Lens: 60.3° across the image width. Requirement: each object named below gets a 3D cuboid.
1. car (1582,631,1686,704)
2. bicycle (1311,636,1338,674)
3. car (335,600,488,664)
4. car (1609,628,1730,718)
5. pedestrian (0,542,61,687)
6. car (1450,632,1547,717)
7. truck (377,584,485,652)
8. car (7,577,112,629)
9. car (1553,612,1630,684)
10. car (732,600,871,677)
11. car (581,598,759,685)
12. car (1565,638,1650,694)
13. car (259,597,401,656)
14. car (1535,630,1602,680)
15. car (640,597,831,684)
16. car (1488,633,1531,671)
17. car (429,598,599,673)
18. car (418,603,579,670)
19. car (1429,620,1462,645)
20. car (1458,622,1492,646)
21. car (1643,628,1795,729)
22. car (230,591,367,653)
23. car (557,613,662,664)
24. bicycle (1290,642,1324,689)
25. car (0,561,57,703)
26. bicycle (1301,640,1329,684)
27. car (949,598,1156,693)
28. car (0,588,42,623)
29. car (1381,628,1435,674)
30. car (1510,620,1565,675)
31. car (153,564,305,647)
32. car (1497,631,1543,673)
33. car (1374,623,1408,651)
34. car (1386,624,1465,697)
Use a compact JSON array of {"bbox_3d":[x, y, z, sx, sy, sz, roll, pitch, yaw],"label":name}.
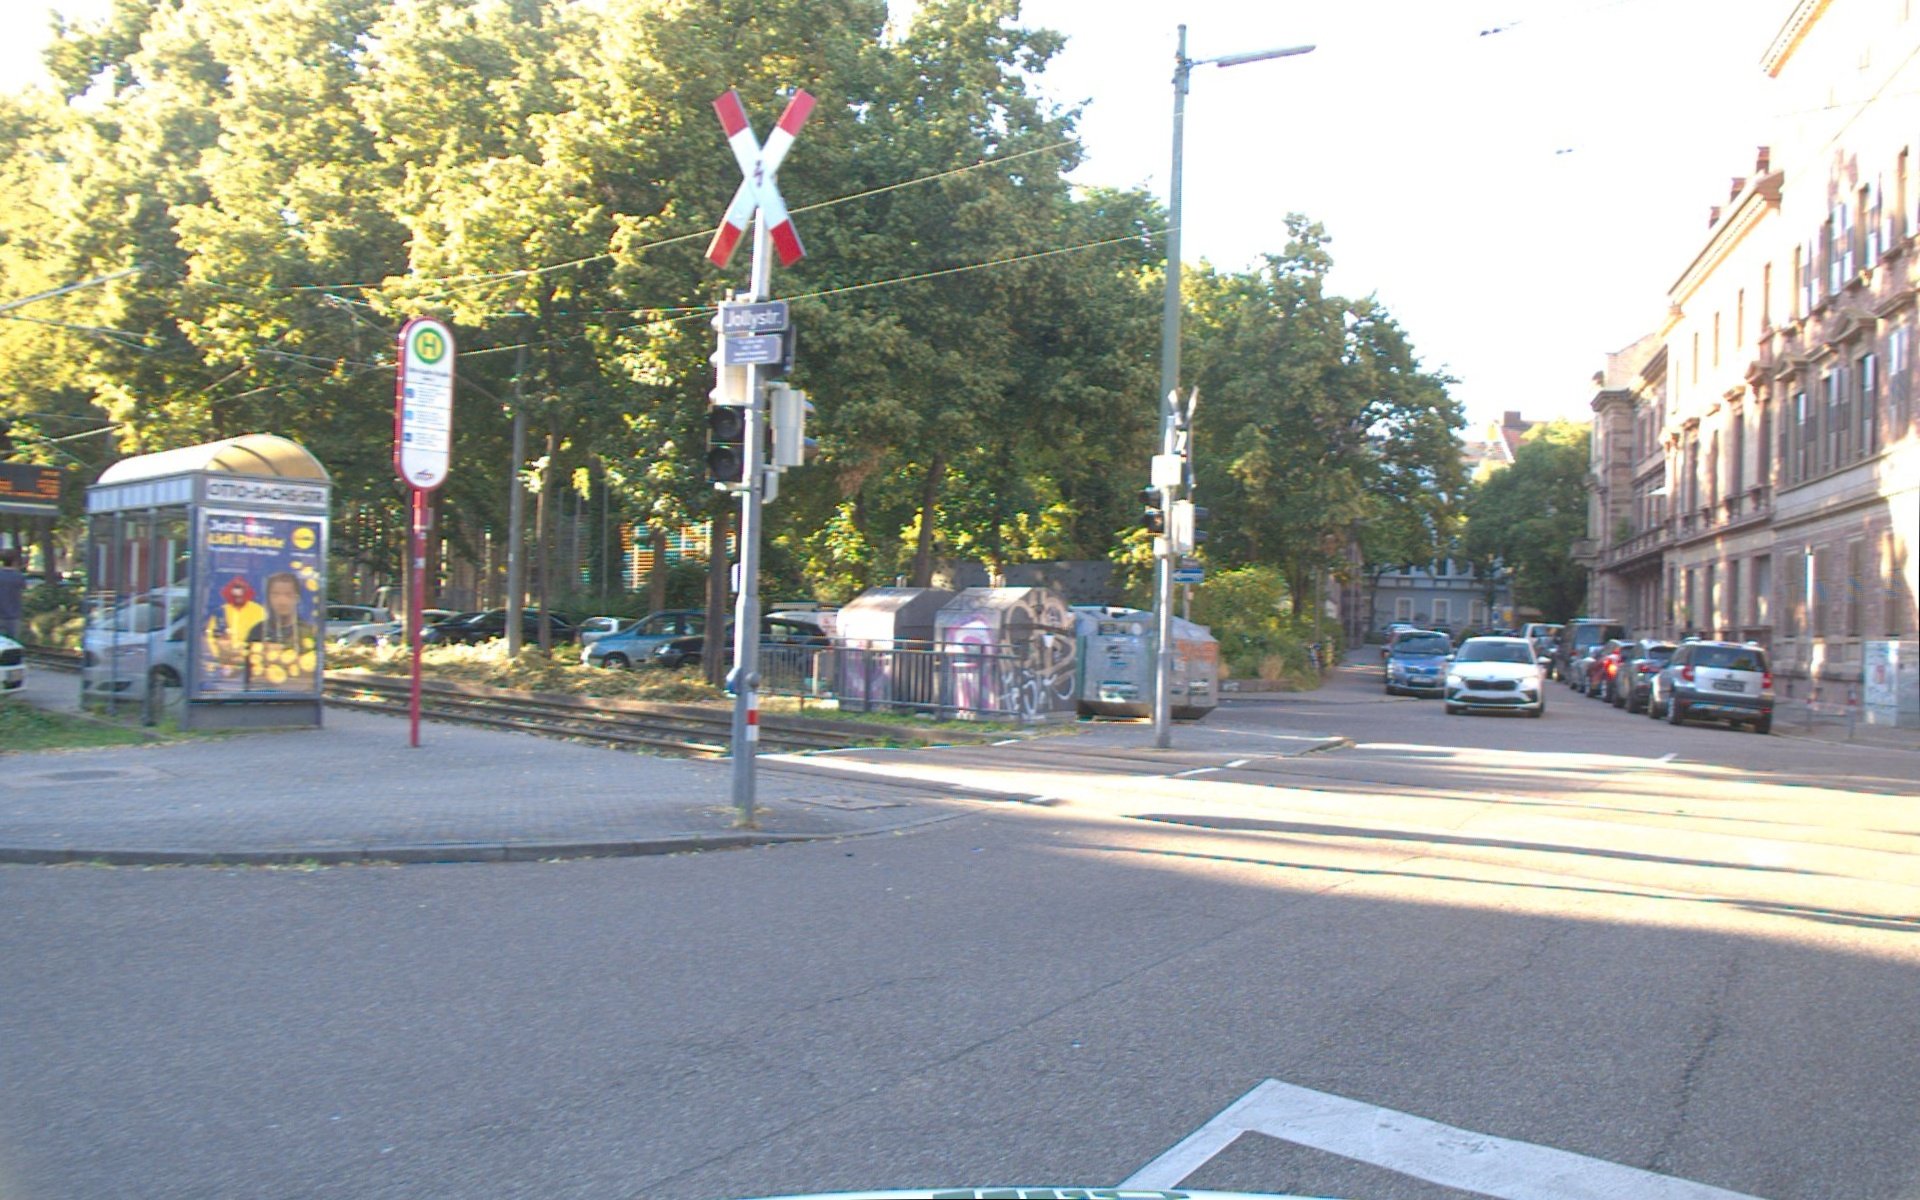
[{"bbox_3d":[17.250,1.678,42.493,1.760,1.642,3.958,4,0,13],"label":"car"},{"bbox_3d":[11.255,1.687,51.038,0.584,1.121,2.628,1,-1,16],"label":"bicycle"},{"bbox_3d":[-14.769,0.882,44.517,3.763,1.416,1.726,5,-4,-22],"label":"car"},{"bbox_3d":[15.966,1.593,37.417,1.788,1.753,4.546,5,0,15],"label":"car"},{"bbox_3d":[-12.880,0.203,22.683,0.837,1.944,0.831,2,-1,-24],"label":"pedestrian"},{"bbox_3d":[10.500,1.383,32.147,1.667,1.482,4.063,1,-1,19],"label":"car"},{"bbox_3d":[-19.789,0.652,61.759,2.352,2.393,4.319,2,-1,-40],"label":"truck"},{"bbox_3d":[-44.426,0.164,81.656,4.005,2.249,1.814,4,-3,-10],"label":"car"},{"bbox_3d":[20.243,1.519,53.143,1.760,2.108,3.957,4,0,15],"label":"car"},{"bbox_3d":[-4.291,1.020,44.444,3.835,1.937,1.566,1,-1,44],"label":"car"},{"bbox_3d":[-6.290,0.904,35.823,3.551,1.590,1.600,5,-2,-18],"label":"car"},{"bbox_3d":[18.559,1.859,47.534,1.760,1.368,3.957,4,0,15],"label":"car"},{"bbox_3d":[-18.584,0.810,48.848,3.763,1.446,1.726,5,-4,-22],"label":"car"},{"bbox_3d":[21.510,1.918,58.588,1.760,1.550,3.957,4,0,15],"label":"car"},{"bbox_3d":[-4.575,0.827,33.614,3.551,1.472,1.599,5,-2,-18],"label":"car"},{"bbox_3d":[28.467,2.659,85.752,1.760,1.757,3.957,4,0,15],"label":"car"},{"bbox_3d":[-10.849,0.888,40.239,3.763,1.523,1.726,5,-4,-22],"label":"car"},{"bbox_3d":[-11.833,0.964,42.390,3.763,1.416,1.726,5,-4,-22],"label":"car"},{"bbox_3d":[38.122,2.561,129.838,1.951,1.713,4.002,3,-2,9],"label":"car"},{"bbox_3d":[40.296,2.668,129.564,1.951,1.713,4.002,3,-2,9],"label":"car"},{"bbox_3d":[14.780,1.499,32.433,1.876,1.685,4.189,5,0,14],"label":"car"},{"bbox_3d":[-20.365,0.707,51.025,3.763,1.615,1.726,5,-4,-22],"label":"car"},{"bbox_3d":[-11.003,1.187,51.854,1.564,1.493,3.541,2,-1,-44],"label":"car"},{"bbox_3d":[8.854,1.649,42.112,0.584,1.121,2.628,1,-1,17],"label":"bicycle"},{"bbox_3d":[-13.487,0.420,19.989,4.151,1.681,1.604,-2,1,-10],"label":"car"},{"bbox_3d":[9.601,1.668,44.729,0.584,1.121,2.629,1,-1,15],"label":"bicycle"},{"bbox_3d":[2.116,1.018,38.551,4.575,2.038,1.939,1,-1,41],"label":"car"},{"bbox_3d":[-55.759,0.258,95.787,4.005,1.821,1.814,4,-3,-10],"label":"car"},{"bbox_3d":[16.674,1.875,61.529,1.788,1.526,3.933,5,0,15],"label":"car"},{"bbox_3d":[24.267,1.980,69.617,1.760,2.108,3.957,4,0,15],"label":"car"},{"bbox_3d":[-25.712,0.224,58.291,4.405,2.520,1.814,4,-3,-10],"label":"car"},{"bbox_3d":[27.237,2.494,80.562,1.760,1.870,3.957,4,0,15],"label":"car"},{"bbox_3d":[25.586,2.188,98.047,1.788,1.526,3.933,5,0,15],"label":"car"},{"bbox_3d":[12.182,1.548,43.372,1.788,1.642,4.294,5,0,15],"label":"car"}]
